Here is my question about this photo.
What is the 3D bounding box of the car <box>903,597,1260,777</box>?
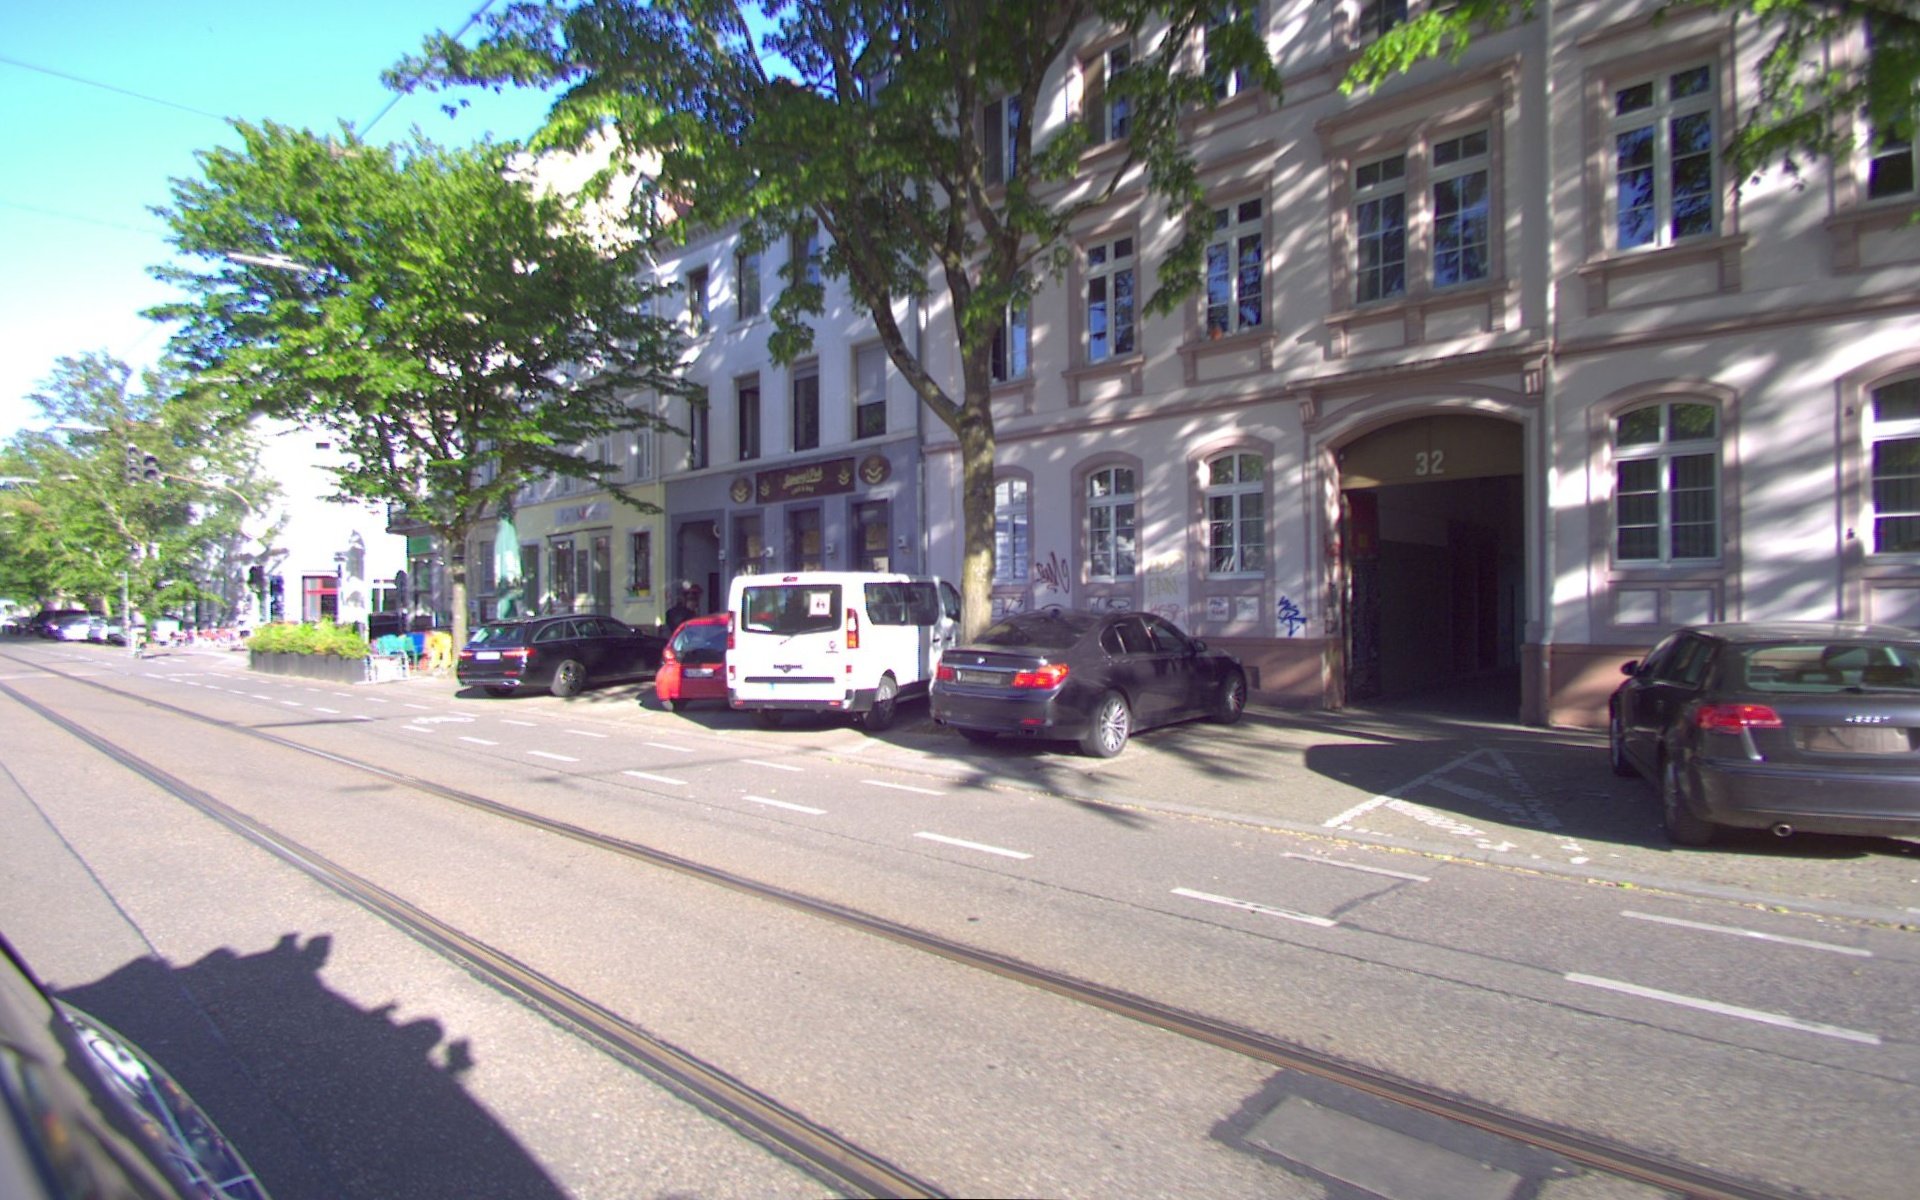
[{"bbox_3d":[1.615,0.812,11.665,1.952,1.588,4.650,-2,0,38],"label":"car"}]

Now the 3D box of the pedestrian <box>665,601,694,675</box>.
[{"bbox_3d":[-6.996,0.951,25.264,0.509,1.825,0.481,-1,-3,38],"label":"pedestrian"}]

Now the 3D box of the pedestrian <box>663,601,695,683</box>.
[{"bbox_3d":[-6.618,0.984,23.834,0.591,1.900,0.448,-2,-3,43],"label":"pedestrian"}]

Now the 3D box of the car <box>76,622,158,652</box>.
[{"bbox_3d":[-45.535,1.981,54.706,1.497,1.464,3.291,0,1,45],"label":"car"}]

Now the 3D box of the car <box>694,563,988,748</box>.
[{"bbox_3d":[-1.332,0.672,13.760,2.059,2.029,4.909,-1,-2,19],"label":"car"}]

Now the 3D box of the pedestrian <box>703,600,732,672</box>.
[{"bbox_3d":[-6.202,0.927,25.896,0.509,1.825,0.481,-1,-3,38],"label":"pedestrian"}]

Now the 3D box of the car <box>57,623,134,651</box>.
[{"bbox_3d":[-50.391,2.161,59.023,1.497,1.464,3.291,0,1,45],"label":"car"}]

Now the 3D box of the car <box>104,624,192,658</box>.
[{"bbox_3d":[-39.723,1.974,49.527,3.288,1.464,1.498,-1,1,-41],"label":"car"}]

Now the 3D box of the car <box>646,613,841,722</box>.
[{"bbox_3d":[-3.343,1.000,16.220,1.485,1.464,3.317,-2,0,21],"label":"car"}]

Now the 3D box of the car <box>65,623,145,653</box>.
[{"bbox_3d":[-47.493,2.089,56.220,1.497,1.464,3.291,0,1,45],"label":"car"}]

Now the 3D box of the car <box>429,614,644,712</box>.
[{"bbox_3d":[-7.784,1.084,19.032,1.763,1.570,3.984,-1,0,13],"label":"car"}]

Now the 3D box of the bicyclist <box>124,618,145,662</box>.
[{"bbox_3d":[-28.587,1.379,35.036,0.590,1.482,0.414,-1,-3,39],"label":"bicyclist"}]

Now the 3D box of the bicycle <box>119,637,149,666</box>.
[{"bbox_3d":[-28.575,1.771,34.996,1.756,0.943,0.445,-1,-3,39],"label":"bicycle"}]

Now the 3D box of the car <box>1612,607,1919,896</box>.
[{"bbox_3d":[5.917,0.824,7.255,1.662,1.464,4.062,-1,0,27],"label":"car"}]

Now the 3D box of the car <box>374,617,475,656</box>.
[{"bbox_3d":[-25.220,1.713,47.683,3.934,1.763,2.005,2,-2,-35],"label":"car"}]

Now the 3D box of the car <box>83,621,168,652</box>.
[{"bbox_3d":[-43.759,1.864,53.110,1.497,1.464,3.292,0,1,44],"label":"car"}]
